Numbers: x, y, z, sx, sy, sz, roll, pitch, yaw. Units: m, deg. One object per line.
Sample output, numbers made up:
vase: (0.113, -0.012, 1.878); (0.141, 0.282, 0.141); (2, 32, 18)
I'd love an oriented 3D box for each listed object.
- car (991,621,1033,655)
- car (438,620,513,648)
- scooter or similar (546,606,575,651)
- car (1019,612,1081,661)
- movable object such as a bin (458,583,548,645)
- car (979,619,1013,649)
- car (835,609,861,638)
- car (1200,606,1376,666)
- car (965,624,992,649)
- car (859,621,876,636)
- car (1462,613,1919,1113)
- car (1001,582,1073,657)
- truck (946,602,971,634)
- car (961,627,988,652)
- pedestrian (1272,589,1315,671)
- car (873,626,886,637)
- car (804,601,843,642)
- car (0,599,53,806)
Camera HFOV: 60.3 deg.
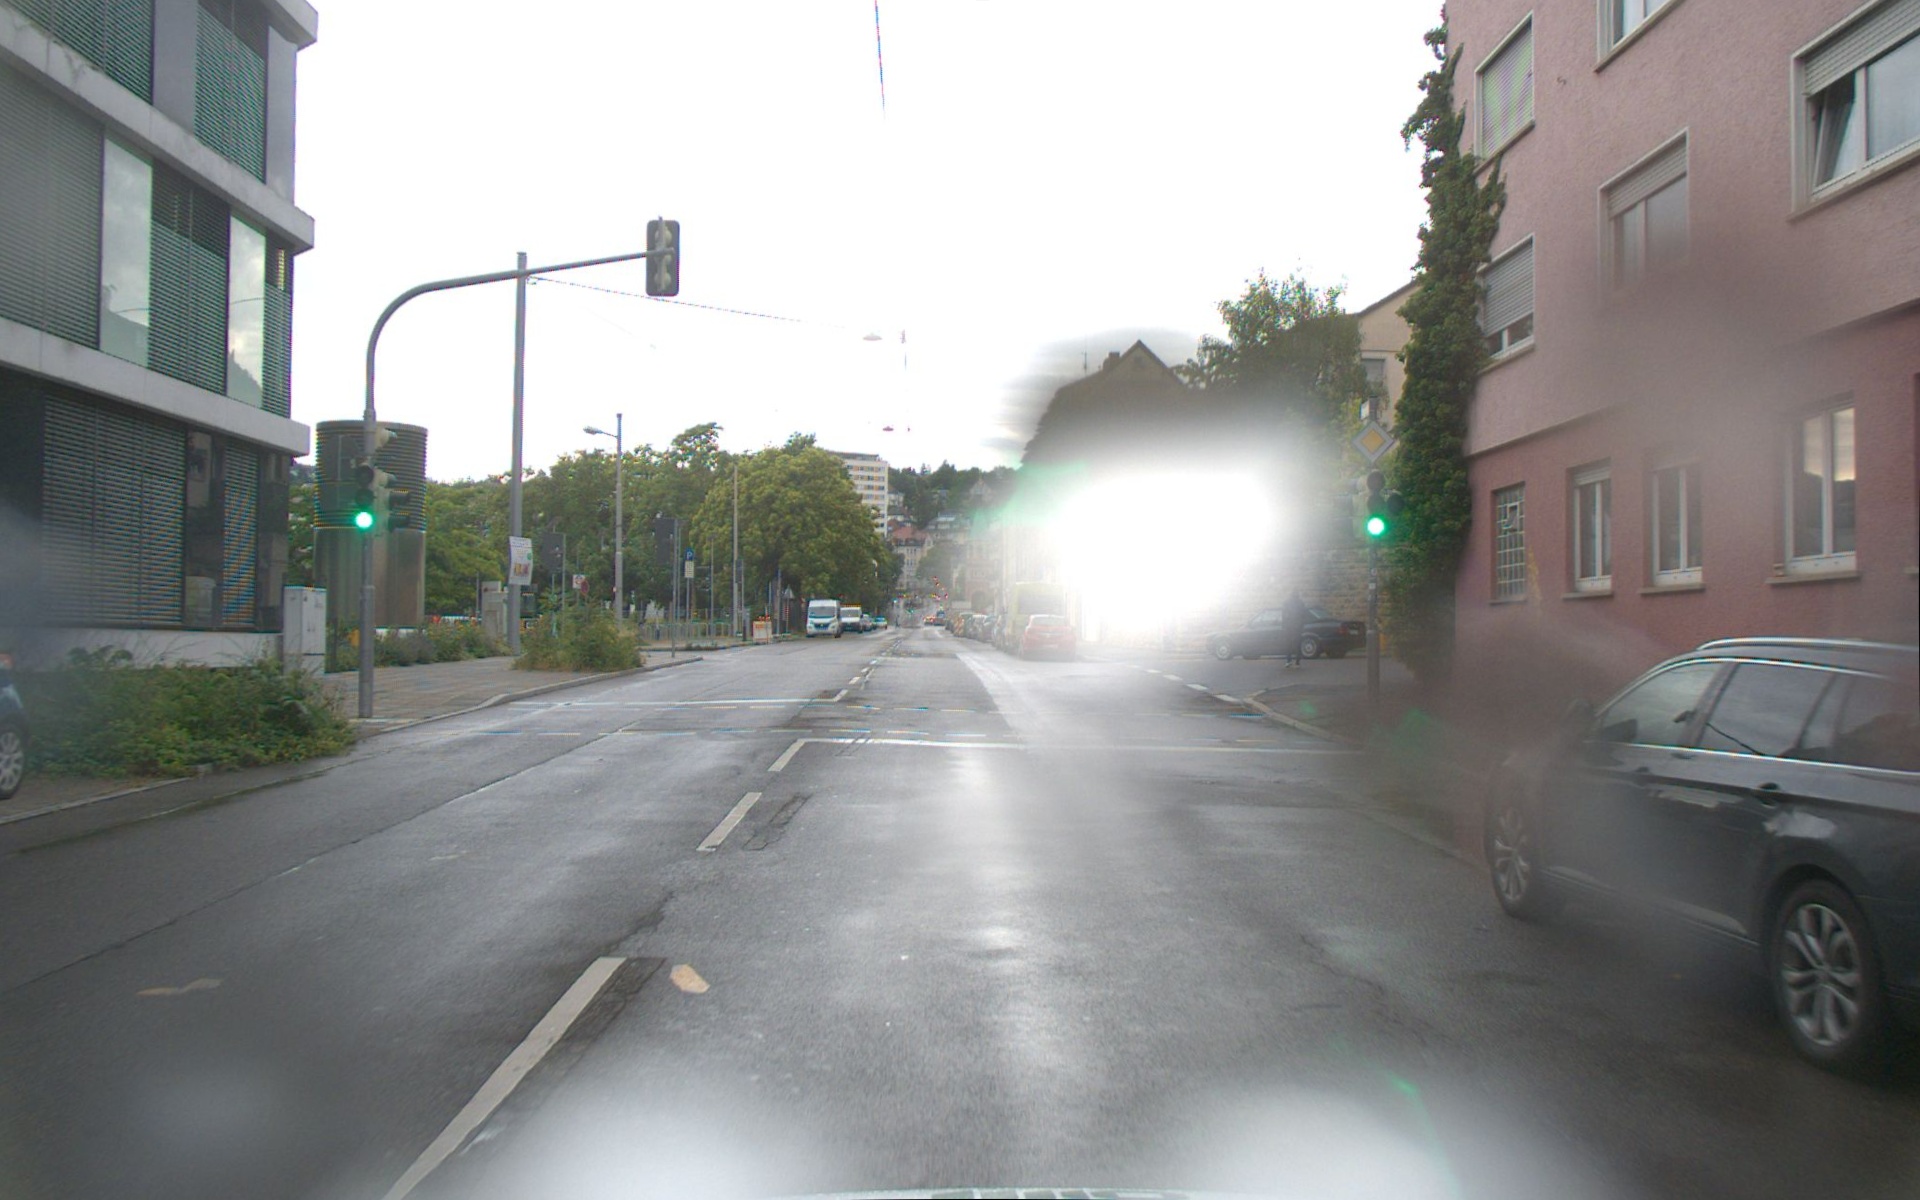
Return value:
car: (2.404, 1.768, 77.808); (1.654, 1.479, 4.233); (2, 0, -2)
car: (-33.274, 2.292, 113.643); (1.963, 1.866, 4.668); (-1, -1, 40)
scooter or similar: (-11.376, 0.824, 47.140); (0.486, 1.270, 1.231); (2, -2, 0)
car: (2.847, 1.149, 52.895); (1.686, 1.446, 4.202); (2, -1, 0)
movable object such as a bin: (-19.291, 0.609, 69.683); (1.656, 2.502, 5.211); (1, -1, -40)
car: (1.895, 1.785, 87.903); (1.596, 1.479, 3.758); (2, -1, -2)
car: (-9.937, 2.087, 147.570); (1.971, 2.531, 5.982); (-1, -1, -1)
car: (8.524, 0.965, 43.230); (4.199, 1.417, 1.742); (-4, -3, 41)
car: (1.194, 2.345, 107.199); (1.527, 1.479, 3.758); (2, -1, -2)
car: (-9.145, 2.788, 163.355); (1.648, 1.423, 3.908); (-1, -2, -2)
car: (3.796, 0.848, 7.008); (1.756, 1.546, 4.509); (1, 0, -3)
car: (2.708, 0.696, 59.619); (2.160, 2.506, 6.078); (2, -1, -1)
truck: (-0.195, 1.860, 167.747); (2.419, 3.228, 7.033); (0, -1, -1)
car: (0.965, 2.648, 112.165); (1.681, 1.551, 3.998); (2, -1, -2)
pedestrian: (7.285, 0.652, 36.140); (0.708, 1.745, 0.905); (-1, -1, 0)
car: (-10.671, 4.190, 218.952); (1.675, 1.476, 4.292); (0, -2, -2)
car: (-8.946, 1.415, 108.927); (2.185, 2.624, 6.534); (-1, -1, -2)
car: (-7.690, 0.727, 10.859); (1.604, 1.492, 3.581); (0, 0, -3)
